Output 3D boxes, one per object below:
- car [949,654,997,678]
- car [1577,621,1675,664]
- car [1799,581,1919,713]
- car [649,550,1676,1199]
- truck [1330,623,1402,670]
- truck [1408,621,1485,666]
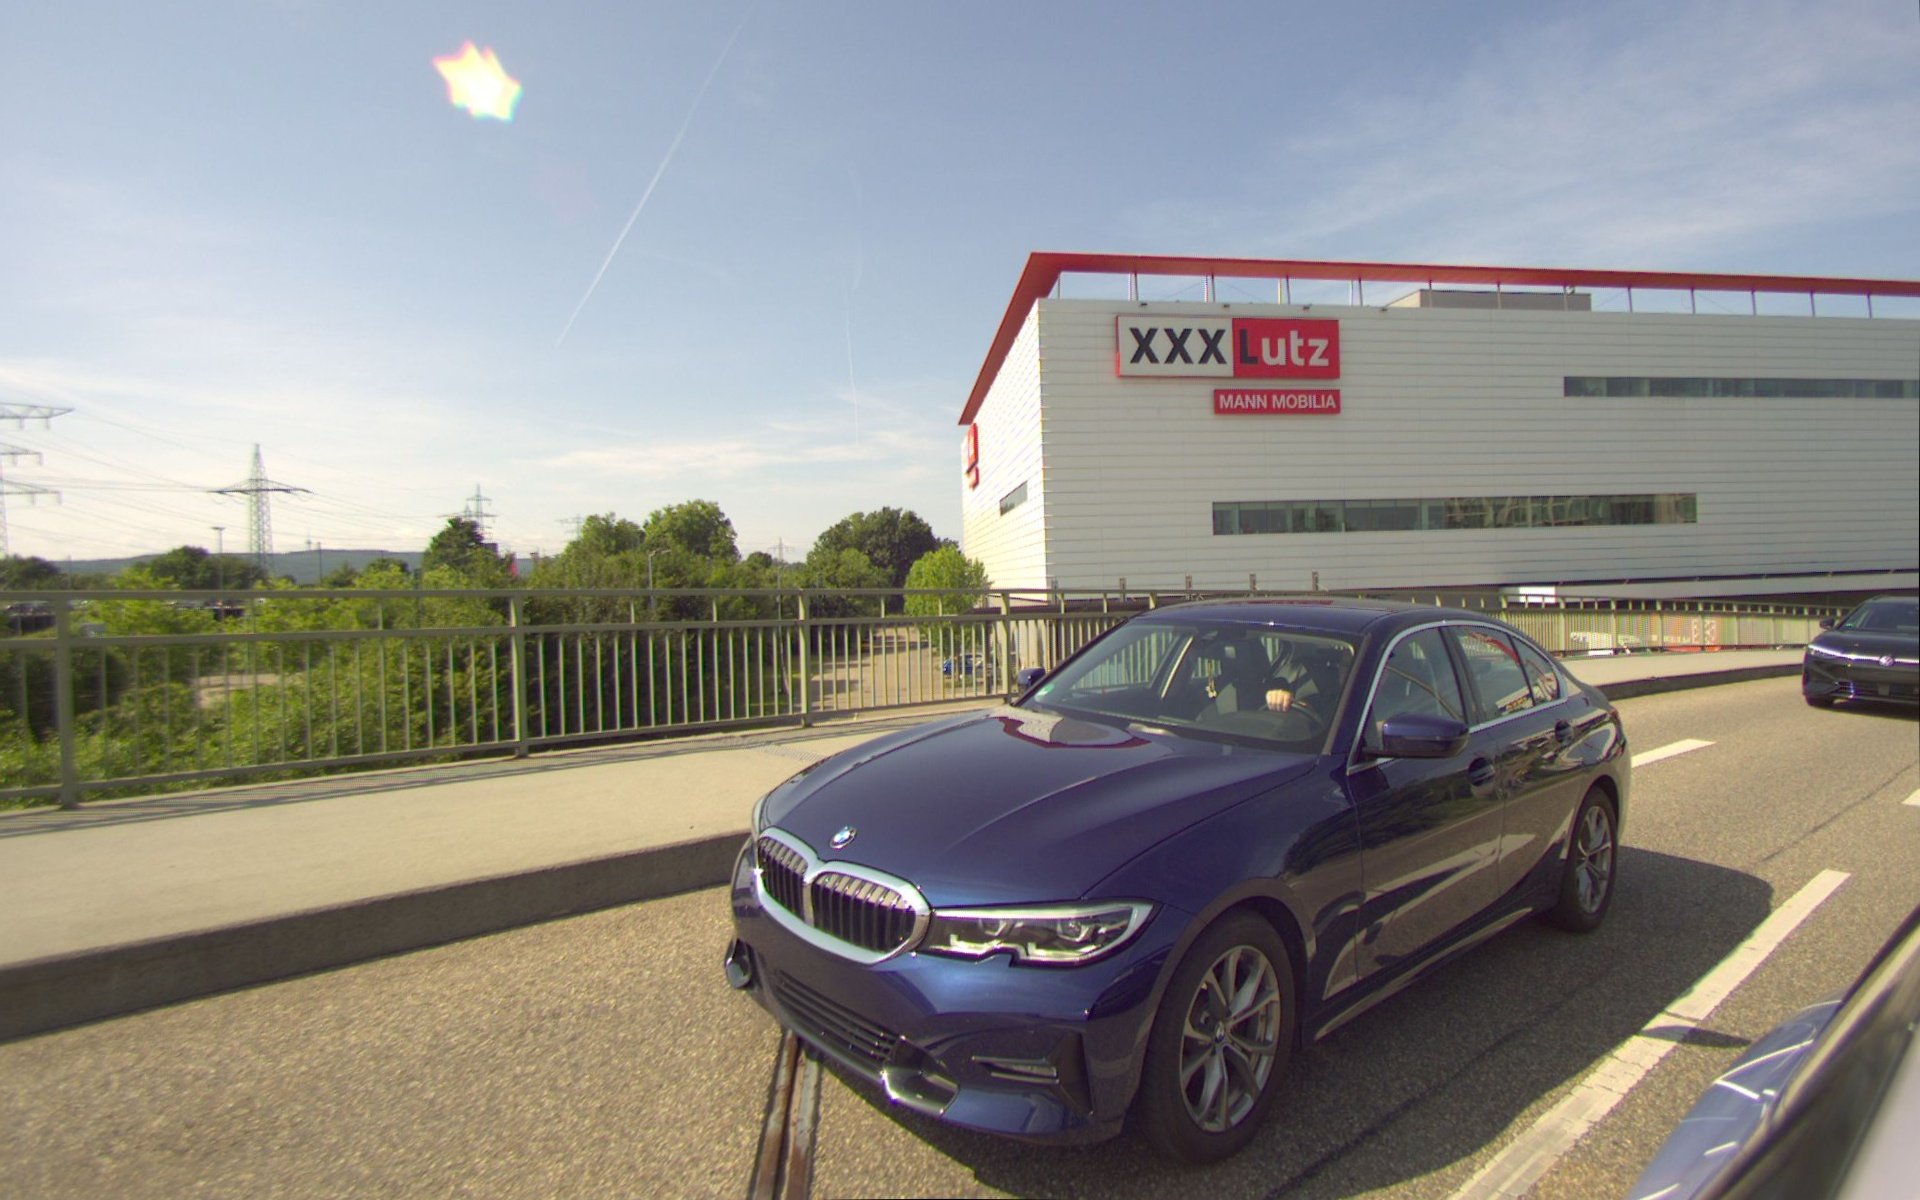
[{"bbox_3d":[1.048,5.403,82.696,3.749,1.657,1.810,-2,2,-4],"label":"car"},{"bbox_3d":[47.038,2.970,71.672,2.088,2.653,6.023,-2,1,-11],"label":"car"},{"bbox_3d":[13.117,0.576,13.643,4.067,1.548,1.862,0,3,-38],"label":"car"},{"bbox_3d":[1.231,0.614,4.188,4.442,1.502,1.790,-3,2,-41],"label":"car"},{"bbox_3d":[29.664,3.342,74.272,2.089,2.963,6.021,-2,1,-8],"label":"truck"},{"bbox_3d":[36.215,3.192,75.528,2.089,2.963,6.021,-2,1,-8],"label":"truck"}]
